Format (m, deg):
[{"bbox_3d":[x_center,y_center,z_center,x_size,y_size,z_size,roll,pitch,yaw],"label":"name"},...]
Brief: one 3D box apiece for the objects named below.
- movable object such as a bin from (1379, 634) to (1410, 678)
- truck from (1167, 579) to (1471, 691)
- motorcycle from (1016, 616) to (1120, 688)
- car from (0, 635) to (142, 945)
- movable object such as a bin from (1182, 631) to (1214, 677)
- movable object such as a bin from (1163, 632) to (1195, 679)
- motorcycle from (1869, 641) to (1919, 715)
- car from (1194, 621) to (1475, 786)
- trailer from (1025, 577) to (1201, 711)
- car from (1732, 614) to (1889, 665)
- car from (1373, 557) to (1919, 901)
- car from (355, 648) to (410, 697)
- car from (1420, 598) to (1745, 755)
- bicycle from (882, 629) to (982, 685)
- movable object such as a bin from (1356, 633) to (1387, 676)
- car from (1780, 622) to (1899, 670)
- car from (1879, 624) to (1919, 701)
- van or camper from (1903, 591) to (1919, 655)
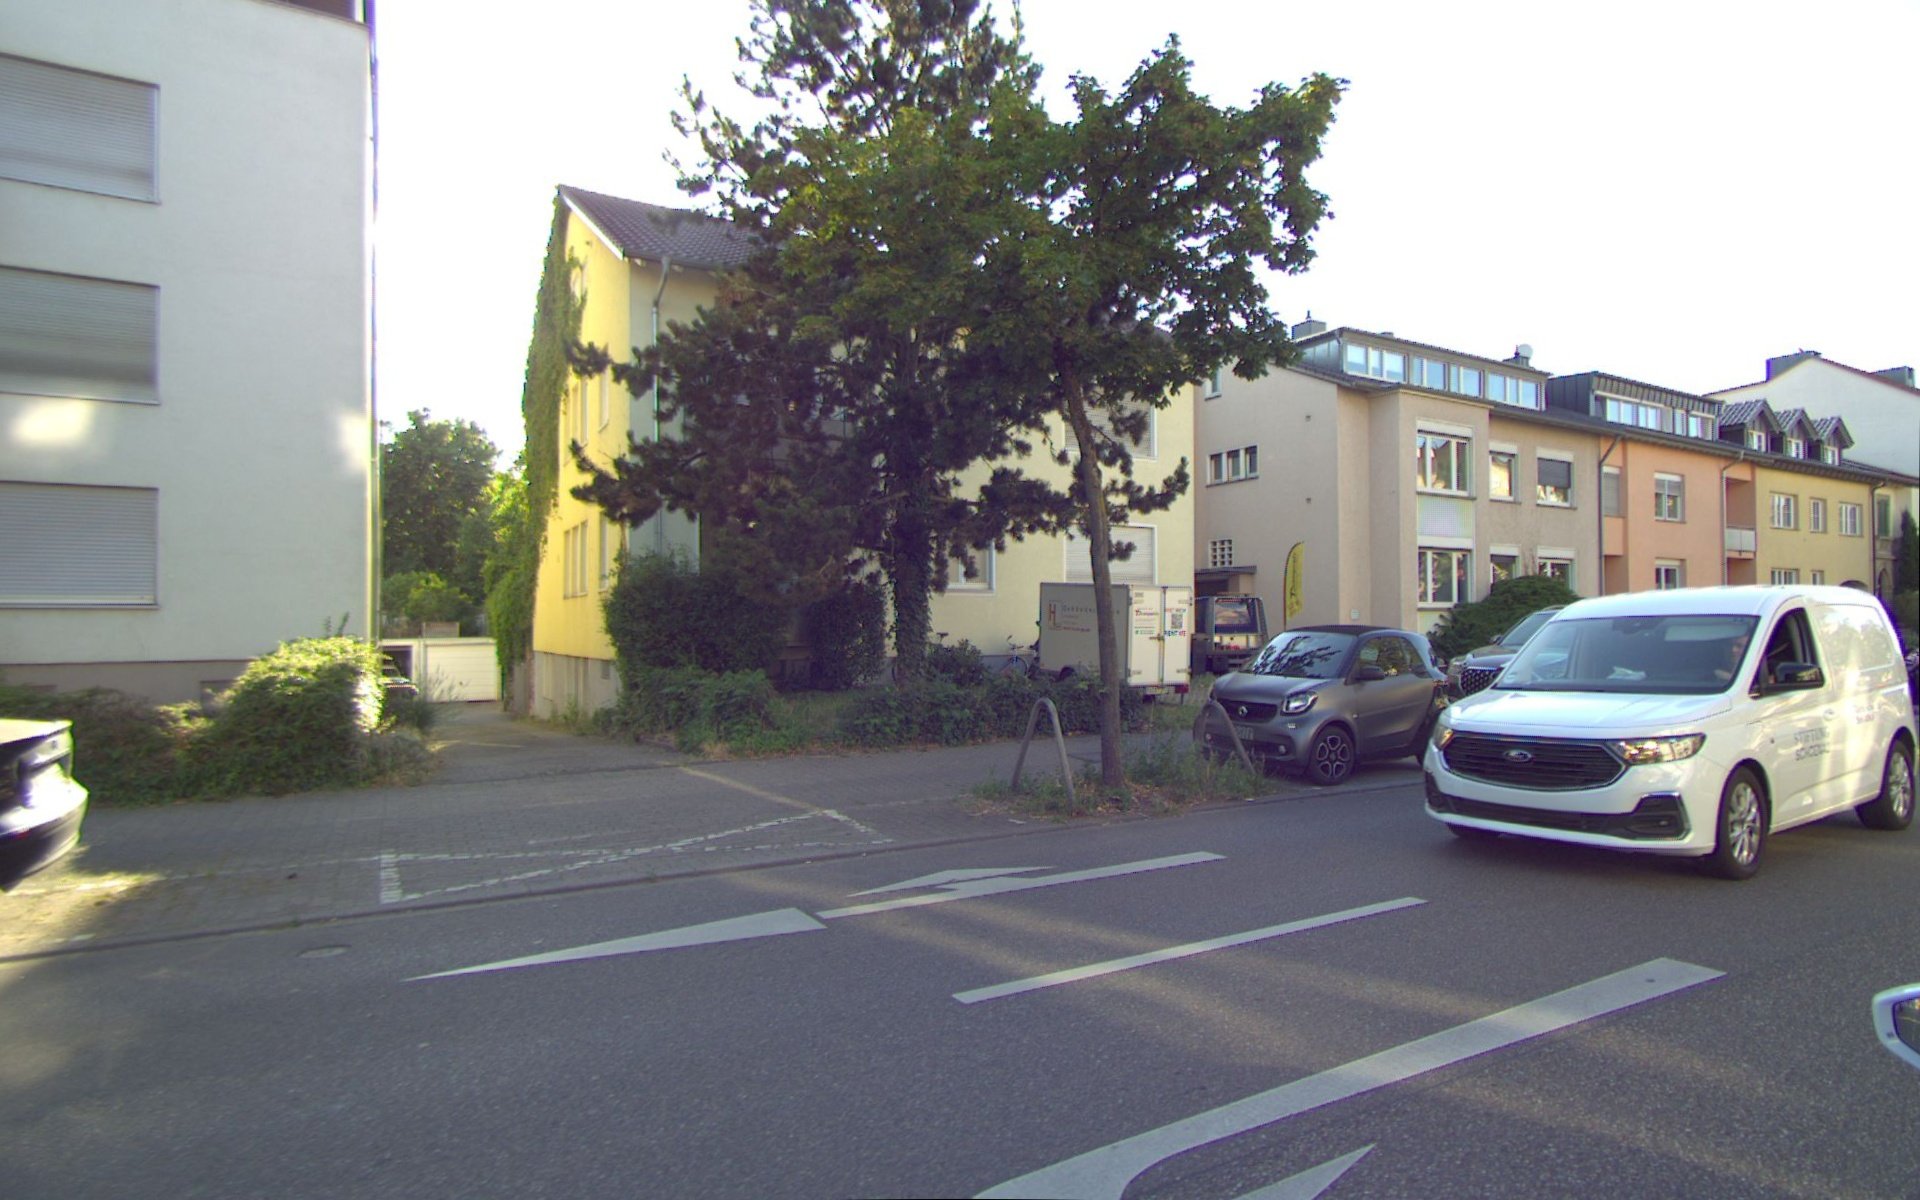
[{"bbox_3d":[11.170,1.423,25.814,0.579,1.105,0.486,1,-1,-30],"label":"movable object such as a bin"},{"bbox_3d":[7.957,0.774,23.296,2.249,2.214,6.863,1,-2,-30],"label":"truck"},{"bbox_3d":[2.210,1.035,20.385,2.232,1.392,0.567,1,-2,-31],"label":"motorcycle"},{"bbox_3d":[-6.546,0.881,4.373,4.393,1.426,1.629,1,-1,-31],"label":"car"},{"bbox_3d":[5.542,1.246,23.403,0.544,1.044,0.478,1,-1,-29],"label":"movable object such as a bin"},{"bbox_3d":[5.038,1.269,23.123,0.531,1.044,0.478,1,-1,-29],"label":"movable object such as a bin"},{"bbox_3d":[17.676,1.407,18.452,1.164,1.282,2.362,-1,-2,36],"label":"motorcycle"},{"bbox_3d":[4.112,1.027,11.019,2.719,1.576,1.565,1,-1,-32],"label":"car"},{"bbox_3d":[2.519,0.719,16.967,1.535,2.040,2.758,1,-2,-32],"label":"trailer"},{"bbox_3d":[30.899,1.387,36.609,1.843,1.658,3.970,1,1,-29],"label":"car"},{"bbox_3d":[5.231,0.764,7.328,4.382,1.827,1.878,1,-3,-32],"label":"car"},{"bbox_3d":[-23.978,2.965,41.801,1.824,1.894,3.971,1,-2,-28],"label":"car"},{"bbox_3d":[8.499,0.936,13.602,4.673,1.803,1.877,1,-1,-32],"label":"car"},{"bbox_3d":[-0.555,1.123,20.217,2.022,1.078,0.516,1,-1,-31],"label":"bicycle"},{"bbox_3d":[10.791,1.419,26.336,0.579,1.105,0.486,1,-1,-30],"label":"movable object such as a bin"},{"bbox_3d":[27.772,1.438,31.712,3.707,1.427,1.658,1,-2,-29],"label":"car"},{"bbox_3d":[20.730,1.274,20.710,3.392,1.543,1.587,1,-1,-28],"label":"car"},{"bbox_3d":[44.834,1.102,42.501,2.325,2.810,6.763,1,1,-30],"label":"van or camper"}]
